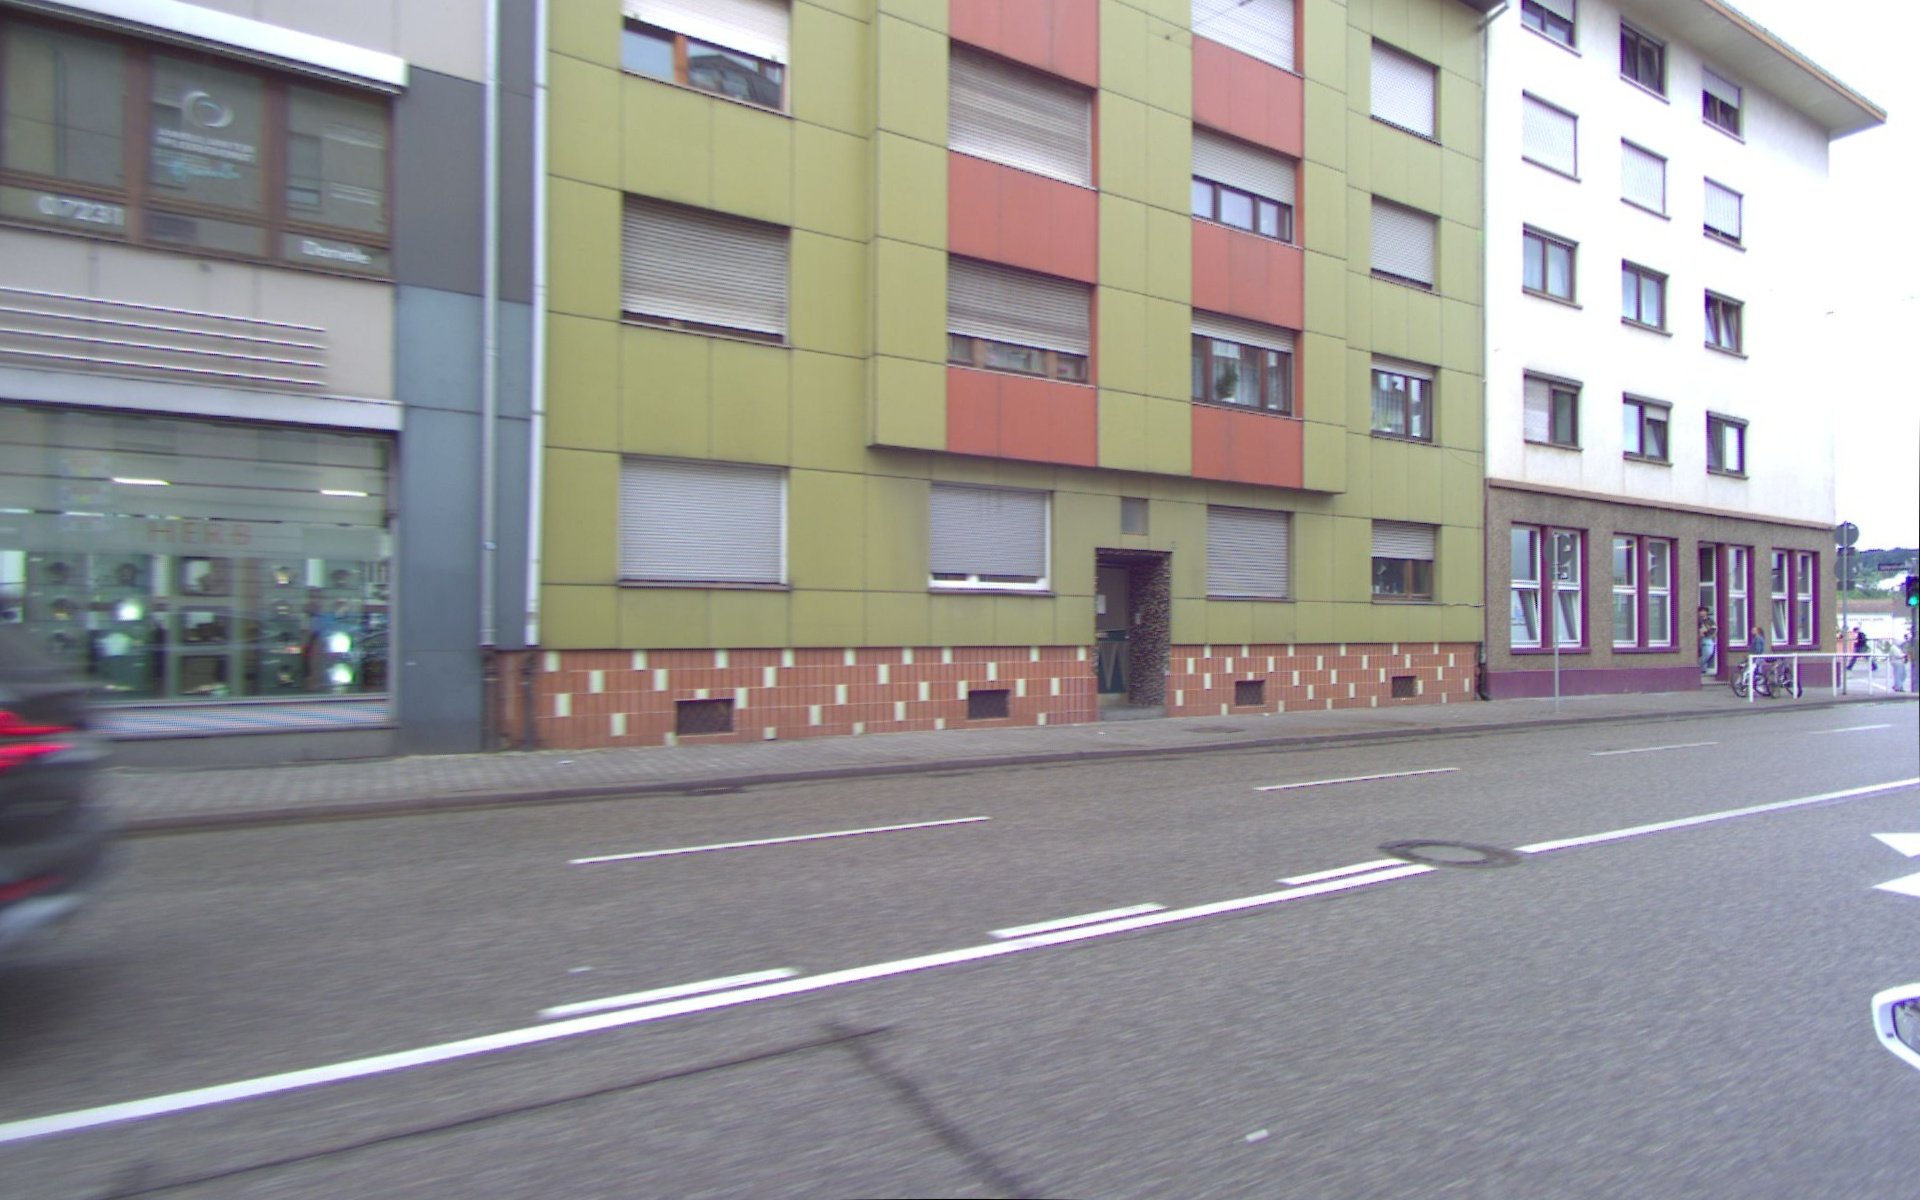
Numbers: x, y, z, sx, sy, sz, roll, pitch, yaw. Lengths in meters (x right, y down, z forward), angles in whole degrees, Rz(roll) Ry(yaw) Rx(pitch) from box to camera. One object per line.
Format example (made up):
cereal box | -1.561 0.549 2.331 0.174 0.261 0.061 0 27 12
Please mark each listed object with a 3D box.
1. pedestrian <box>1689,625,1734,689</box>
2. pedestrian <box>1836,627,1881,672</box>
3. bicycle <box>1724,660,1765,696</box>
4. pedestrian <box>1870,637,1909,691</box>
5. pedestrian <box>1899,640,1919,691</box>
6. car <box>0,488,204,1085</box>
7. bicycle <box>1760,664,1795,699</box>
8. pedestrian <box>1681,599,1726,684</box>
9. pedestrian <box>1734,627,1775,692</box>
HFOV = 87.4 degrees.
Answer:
pedestrian | 19.372 1.460 25.895 0.582 1.598 0.770 2 -2 -30
pedestrian | 36.102 1.996 40.378 1.052 1.780 1.062 0 -2 26
bicycle | 18.271 1.810 23.385 1.405 0.793 0.263 2 -2 -30
pedestrian | 25.936 1.767 28.031 0.653 1.477 0.639 2 -2 -31
pedestrian | 26.647 1.828 27.955 0.641 1.406 0.542 2 -2 -28
car | -5.050 0.522 2.761 4.522 1.780 1.920 2 -2 -32
bicycle | 18.997 1.892 23.337 1.098 0.793 0.263 2 -2 -30
pedestrian | 18.978 1.057 25.643 0.722 2.127 0.707 2 -2 -33
pedestrian | 19.690 1.466 24.893 0.732 1.574 0.571 2 -2 -33
